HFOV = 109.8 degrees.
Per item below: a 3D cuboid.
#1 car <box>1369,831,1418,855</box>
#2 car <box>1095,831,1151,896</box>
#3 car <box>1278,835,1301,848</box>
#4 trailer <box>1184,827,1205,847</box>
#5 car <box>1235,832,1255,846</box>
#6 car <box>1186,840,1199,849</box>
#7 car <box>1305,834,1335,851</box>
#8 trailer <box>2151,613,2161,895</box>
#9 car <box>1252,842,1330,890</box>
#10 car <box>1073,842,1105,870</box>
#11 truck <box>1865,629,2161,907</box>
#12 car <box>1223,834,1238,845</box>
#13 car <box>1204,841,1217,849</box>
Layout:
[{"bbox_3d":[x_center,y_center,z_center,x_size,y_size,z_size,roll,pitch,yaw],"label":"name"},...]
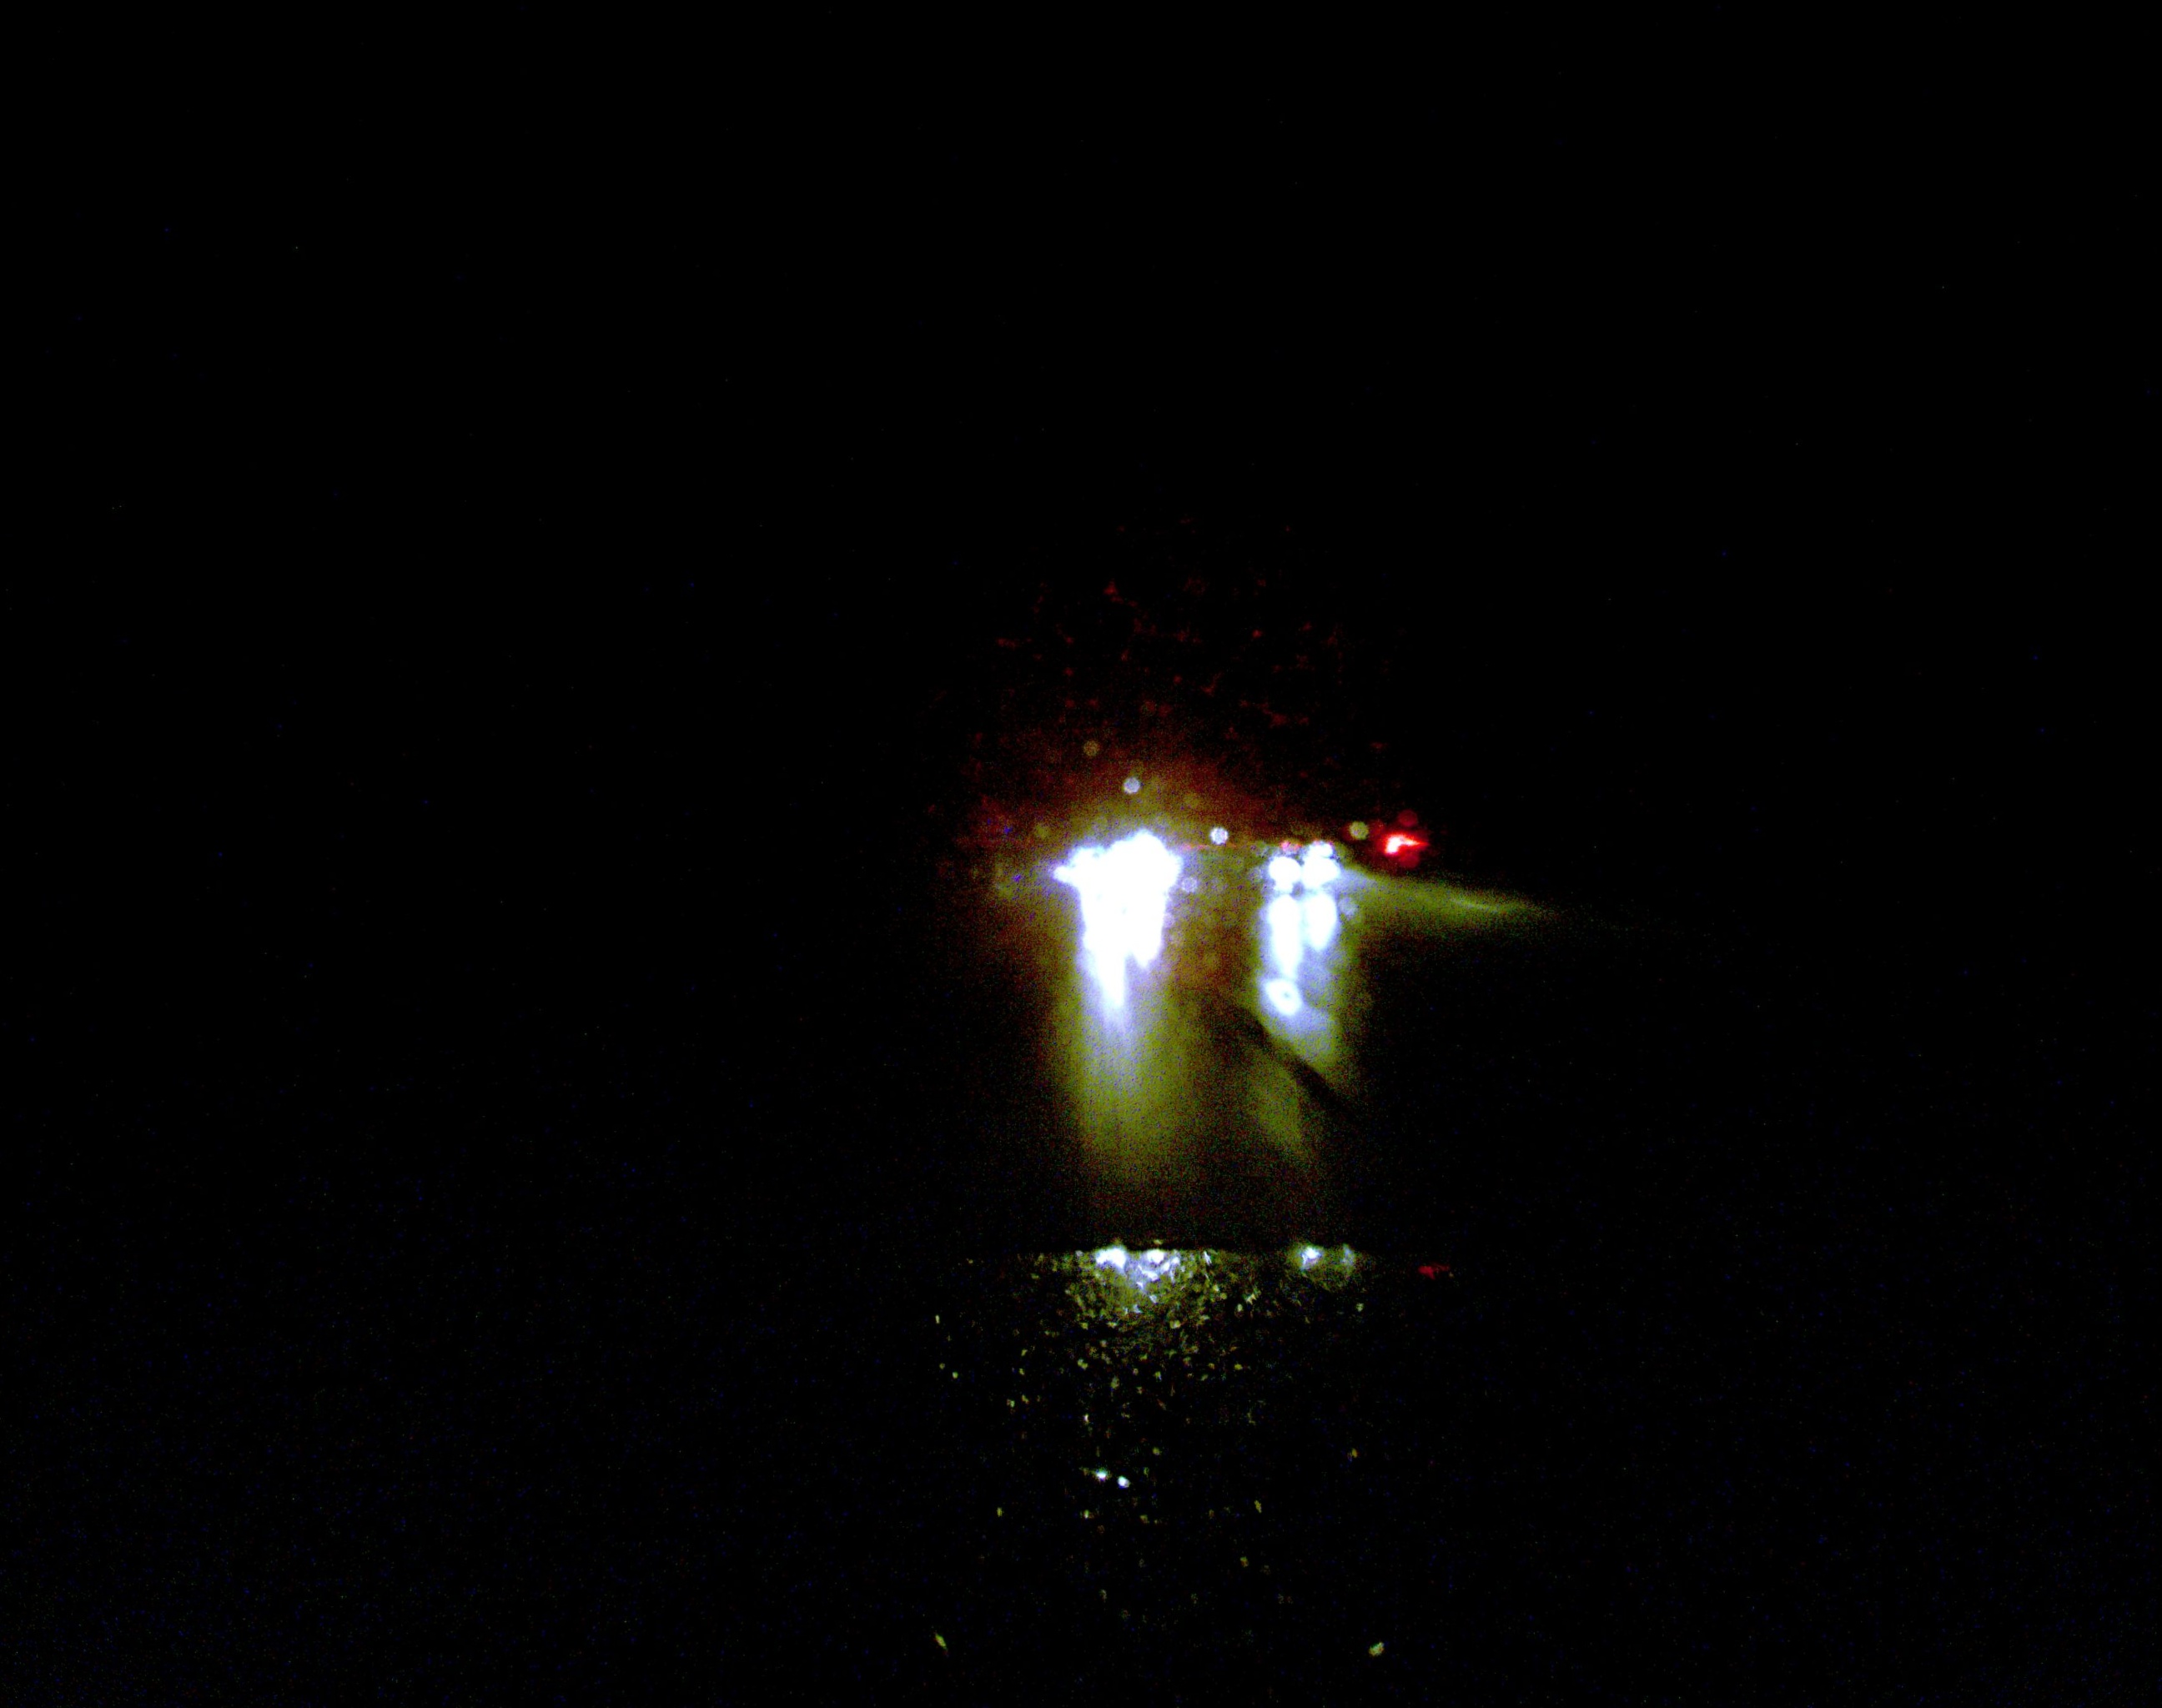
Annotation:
[{"bbox_3d":[23.348,-0.832,56.943,1.846,1.638,4.332,-3,1,0],"label":"car"},{"bbox_3d":[1.460,0.304,27.014,1.754,2.093,4.463,-1,0,2],"label":"car"},{"bbox_3d":[25.329,-1.525,92.405,1.768,1.487,3.803,-2,1,3],"label":"car"},{"bbox_3d":[25.145,-3.706,168.598,3.362,4.149,11.721,-2,1,3],"label":"trailer"},{"bbox_3d":[23.872,-2.159,110.783,1.991,1.899,5.136,-2,1,3],"label":"car"},{"bbox_3d":[21.656,-1.851,147.713,1.886,1.500,4.306,-3,1,1],"label":"car"},{"bbox_3d":[23.798,-1.128,75.790,1.812,1.602,4.200,-2,-1,4],"label":"car"},{"bbox_3d":[18.388,-1.493,5.851,2.582,4.432,12.488,-3,1,-1],"label":"trailer"},{"bbox_3d":[7.410,0.385,27.182,1.654,1.566,3.848,-1,0,-1],"label":"car"},{"bbox_3d":[0.565,0.100,48.347,1.892,1.603,3.999,-2,1,2],"label":"car"},{"bbox_3d":[18.323,-1.456,13.536,2.571,4.379,5.849,-3,2,-1],"label":"truck"},{"bbox_3d":[26.231,-2.598,133.276,1.895,1.899,4.843,-2,1,3],"label":"car"},{"bbox_3d":[25.583,-1.782,149.838,1.843,1.386,4.167,-2,1,1],"label":"car"}]
